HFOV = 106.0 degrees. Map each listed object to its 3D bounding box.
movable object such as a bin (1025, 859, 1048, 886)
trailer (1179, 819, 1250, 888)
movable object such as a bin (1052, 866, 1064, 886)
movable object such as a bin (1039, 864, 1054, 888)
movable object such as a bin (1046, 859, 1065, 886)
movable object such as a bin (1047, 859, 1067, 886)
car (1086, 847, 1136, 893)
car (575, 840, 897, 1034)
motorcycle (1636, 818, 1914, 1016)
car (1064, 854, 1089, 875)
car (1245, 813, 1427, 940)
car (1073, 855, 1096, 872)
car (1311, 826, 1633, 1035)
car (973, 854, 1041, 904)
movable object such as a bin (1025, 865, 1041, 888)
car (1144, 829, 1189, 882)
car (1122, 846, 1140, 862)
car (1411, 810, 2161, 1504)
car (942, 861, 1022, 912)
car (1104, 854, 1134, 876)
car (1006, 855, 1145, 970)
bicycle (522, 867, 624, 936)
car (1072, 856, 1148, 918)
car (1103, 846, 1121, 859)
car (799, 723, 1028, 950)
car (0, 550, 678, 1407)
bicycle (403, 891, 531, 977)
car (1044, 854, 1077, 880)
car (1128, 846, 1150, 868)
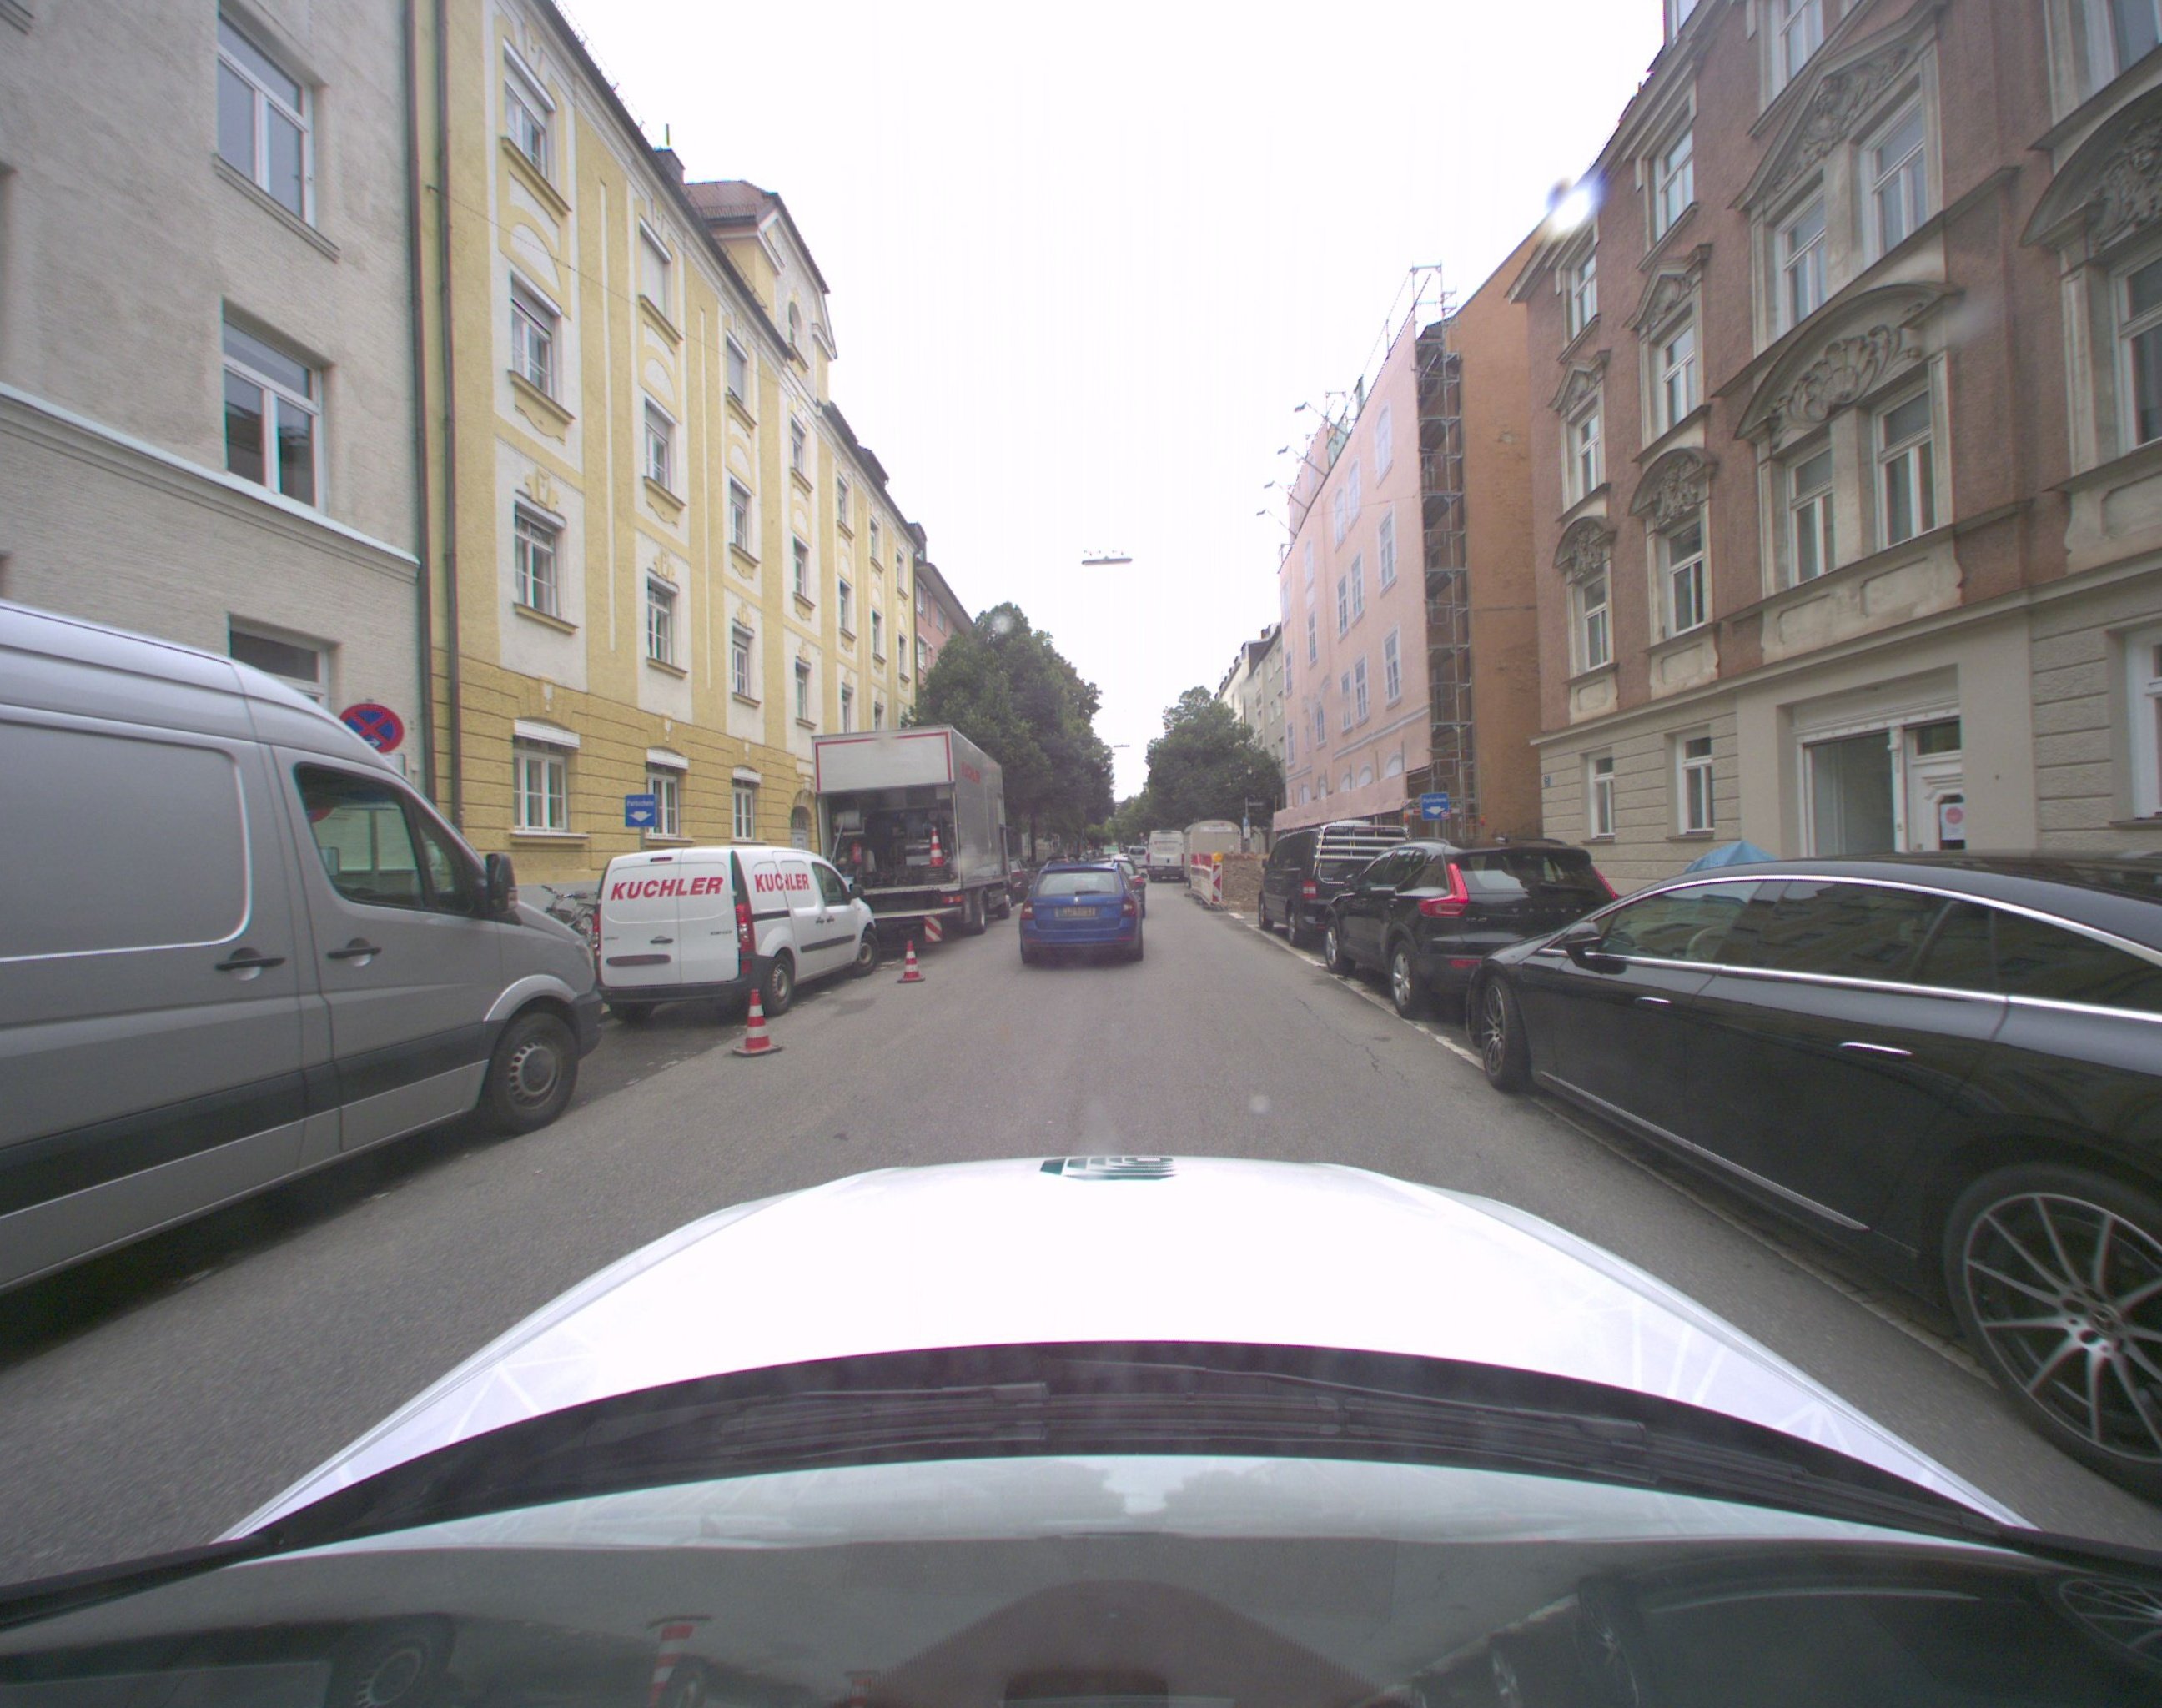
[{"bbox_3d":[-2.345,0.976,43.256,1.078,1.376,1.083,-3,0,-1],"label":"movable object such as a bin"},{"bbox_3d":[5.930,0.019,37.085,2.491,2.840,6.907,0,-1,3],"label":"trailer"},{"bbox_3d":[-1.187,1.146,42.434,0.545,1.020,0.636,-3,0,0],"label":"movable object such as a bin"},{"bbox_3d":[-1.806,1.142,42.399,0.709,1.148,0.636,-3,0,0],"label":"movable object such as a bin"},{"bbox_3d":[-1.349,0.982,43.297,0.915,1.376,1.079,-3,0,-1],"label":"movable object such as a bin"},{"bbox_3d":[-1.297,0.996,44.395,1.017,1.376,1.103,-3,0,-1],"label":"movable object such as a bin"},{"bbox_3d":[1.218,0.584,32.286,1.860,1.696,4.350,0,0,3],"label":"car"},{"bbox_3d":[-3.827,0.811,10.022,1.755,1.779,4.331,-3,0,4],"label":"car"},{"bbox_3d":[5.998,0.485,7.248,0.867,1.505,2.000,-1,0,5],"label":"motorcycle"},{"bbox_3d":[-0.311,0.753,61.837,1.805,1.478,4.001,-1,0,1],"label":"car"},{"bbox_3d":[4.384,0.447,14.944,2.073,1.921,5.145,0,-2,4],"label":"car"},{"bbox_3d":[0.350,0.851,73.871,1.804,1.478,4.004,-1,0,3],"label":"car"},{"bbox_3d":[3.844,0.641,8.929,1.686,1.676,4.413,1,0,4],"label":"car"},{"bbox_3d":[-2.652,0.868,30.019,1.777,1.628,4.190,-3,0,4],"label":"car"},{"bbox_3d":[-2.473,1.183,42.371,0.718,1.138,0.658,-4,0,0],"label":"movable object such as a bin"},{"bbox_3d":[4.710,0.091,44.244,2.100,2.664,5.514,0,-1,9],"label":"car"},{"bbox_3d":[5.263,-0.048,86.497,1.859,1.653,4.351,0,0,3],"label":"car"},{"bbox_3d":[3.447,0.662,3.560,1.923,1.553,5.640,-1,0,2],"label":"car"},{"bbox_3d":[-2.976,0.951,25.216,1.691,1.409,3.713,-2,0,5],"label":"car"},{"bbox_3d":[2.513,0.677,53.384,1.859,1.348,4.351,0,0,3],"label":"car"},{"bbox_3d":[0.095,0.772,12.859,1.781,1.460,4.320,-2,0,5],"label":"car"},{"bbox_3d":[-8.884,0.803,14.322,0.605,1.104,1.767,-1,-1,3],"label":"bicycle"},{"bbox_3d":[0.823,0.769,20.805,1.733,1.422,3.669,-1,0,5],"label":"car"},{"bbox_3d":[3.991,-0.178,104.384,2.003,1.653,4.344,0,0,-2],"label":"car"},{"bbox_3d":[-3.173,-0.279,18.360,2.801,3.817,8.730,-2,0,3],"label":"car"},{"bbox_3d":[-4.297,0.433,2.609,2.047,2.587,6.882,-6,0,3],"label":"car"},{"bbox_3d":[-9.038,1.136,12.083,0.399,1.104,1.865,-1,-1,3],"label":"bicycle"},{"bbox_3d":[-1.242,0.791,51.126,1.805,1.478,4.001,-1,0,1],"label":"car"},{"bbox_3d":[5.174,0.230,72.528,1.859,1.870,4.353,0,0,4],"label":"car"}]
